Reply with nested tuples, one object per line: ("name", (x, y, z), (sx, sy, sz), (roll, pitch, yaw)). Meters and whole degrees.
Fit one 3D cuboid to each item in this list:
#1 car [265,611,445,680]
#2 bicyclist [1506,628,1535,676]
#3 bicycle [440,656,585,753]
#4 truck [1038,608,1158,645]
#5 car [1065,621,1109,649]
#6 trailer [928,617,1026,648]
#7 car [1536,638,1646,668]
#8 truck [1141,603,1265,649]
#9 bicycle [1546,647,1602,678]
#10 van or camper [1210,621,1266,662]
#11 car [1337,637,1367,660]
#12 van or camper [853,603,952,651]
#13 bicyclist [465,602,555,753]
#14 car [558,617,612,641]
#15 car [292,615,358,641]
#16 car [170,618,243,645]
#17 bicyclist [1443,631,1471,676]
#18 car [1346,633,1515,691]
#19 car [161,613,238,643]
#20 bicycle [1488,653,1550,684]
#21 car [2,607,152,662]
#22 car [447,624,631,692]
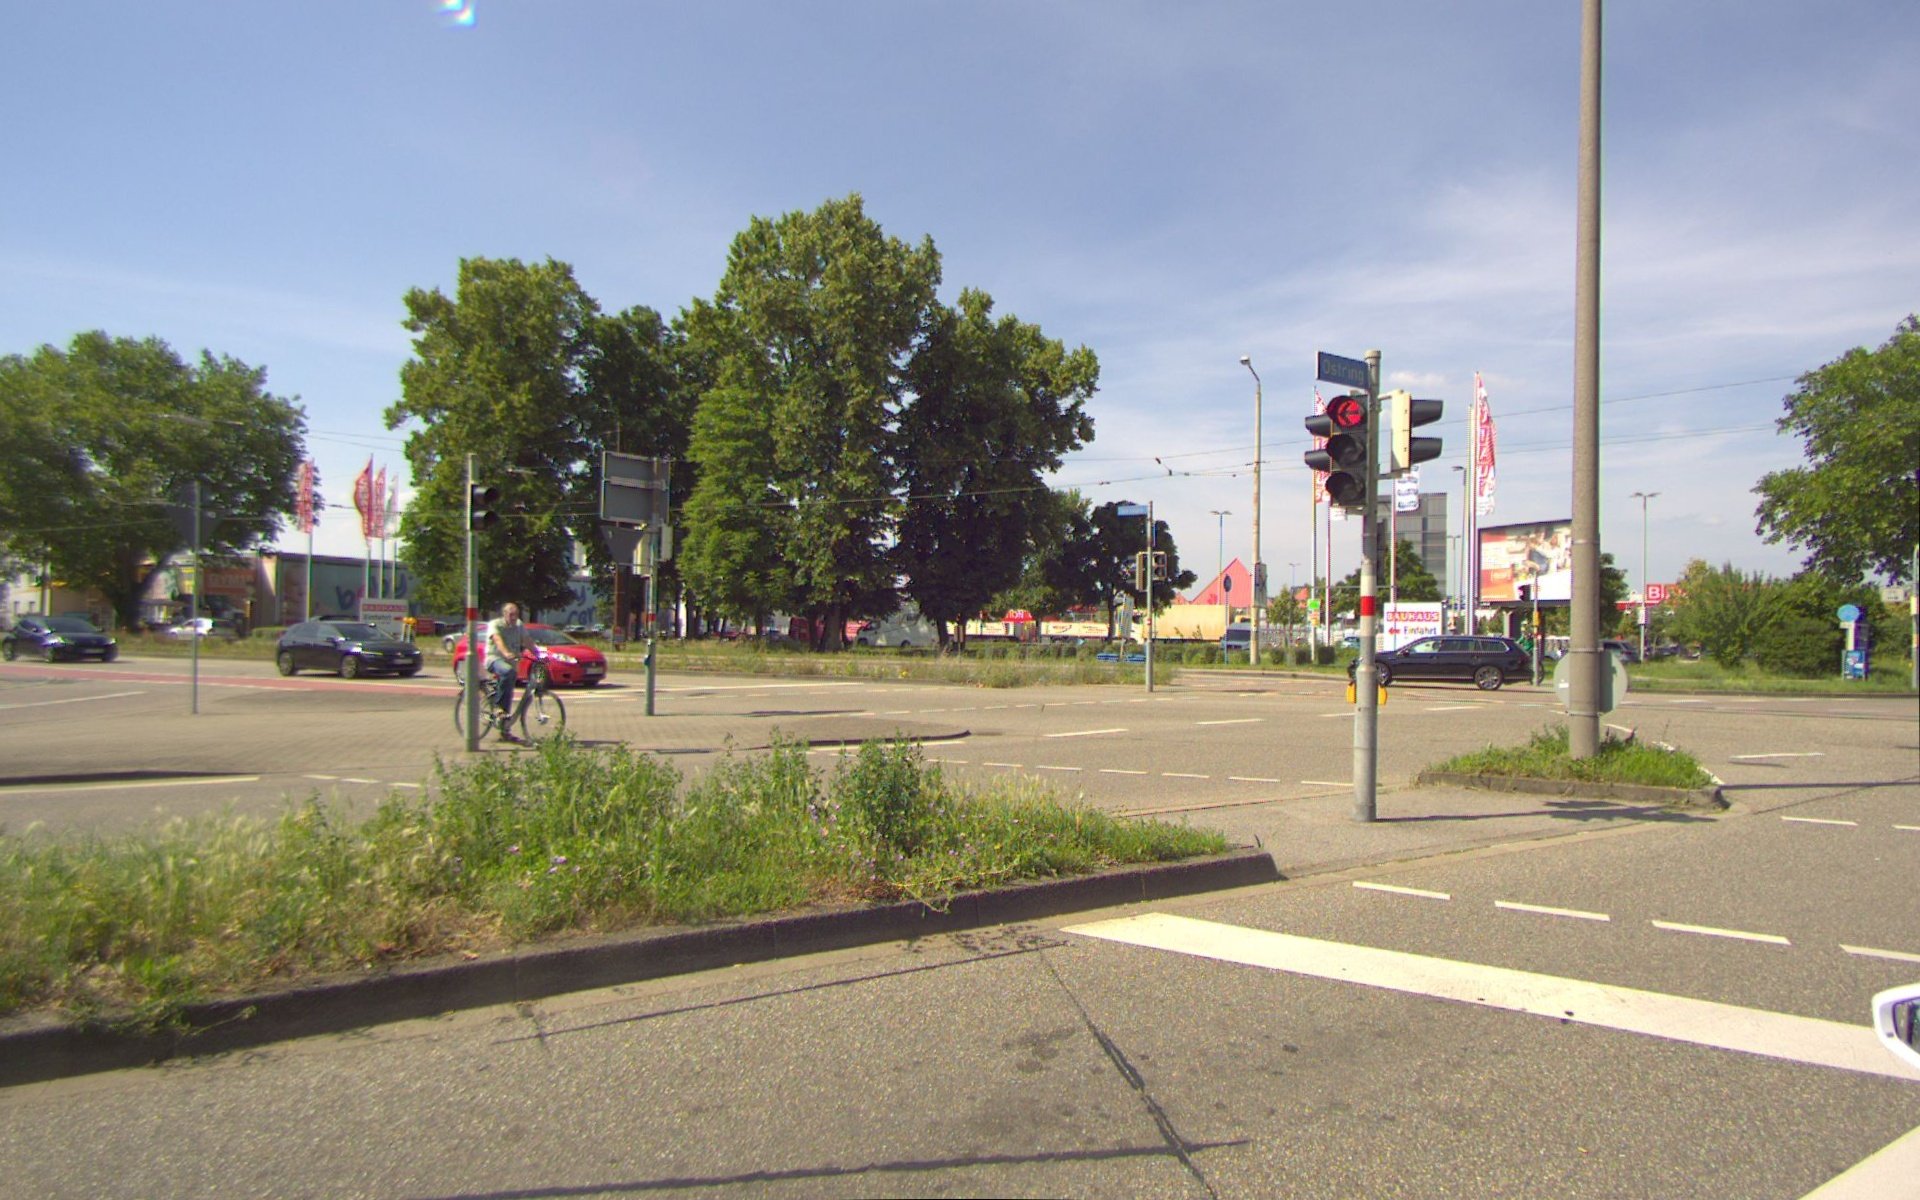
("car", (-16.101, 1.186, 26.773), (3.920, 1.721, 2.001), (0, -2, 18))
("bicyclist", (17.678, 1.635, 31.683), (0.599, 1.511, 0.528), (1, -1, -15))
("bicycle", (-5.620, 1.266, 12.574), (2.128, 1.078, 0.524), (0, -2, 31))
("truck", (11.388, 2.185, 83.060), (9.431, 2.930, 2.925), (0, -2, 24))
("car", (12.506, 3.421, 98.417), (2.344, 2.562, 6.118), (0, -2, 28))
("trailer", (1.499, 2.779, 87.433), (8.057, 2.523, 2.924), (0, -2, 26))
("car", (33.611, 2.815, 53.574), (2.180, 1.432, 4.529), (2, -2, -37))
("truck", (18.441, 1.928, 76.178), (8.753, 3.355, 3.159), (0, -2, 23))
("bicycle", (21.550, 2.200, 35.252), (1.864, 1.051, 0.594), (1, -1, -16))
("van or camper", (16.155, 2.394, 58.146), (2.155, 2.239, 5.513), (0, -2, 26))
("car", (27.881, 3.419, 71.313), (1.787, 1.593, 4.278), (0, -2, 24))
("van or camper", (-3.923, 1.833, 68.762), (6.207, 3.141, 2.709), (1, -1, 26))
("bicyclist", (-5.633, 0.944, 12.590), (0.754, 1.812, 0.704), (0, -1, 31))
("car", (-37.234, 2.846, 99.876), (2.112, 2.308, 5.037), (0, -2, 26))
("car", (-49.960, 2.216, 79.021), (1.971, 2.040, 3.979), (0, -2, 41))
("car", (-42.098, 1.758, 56.103), (3.788, 1.446, 1.698), (0, -2, 26))
("bicyclist", (15.945, 1.713, 32.229), (0.598, 1.432, 0.529), (1, -1, -7))
("car", (13.044, 1.662, 27.897), (4.147, 1.462, 1.786), (0, -2, 30))
("car", (-53.807, 2.011, 71.090), (1.971, 2.040, 3.980), (0, -2, 41))
("bicycle", (17.624, 2.151, 31.663), (1.963, 0.950, 0.416), (1, -1, -14))
("car", (-29.178, 1.128, 33.220), (3.921, 1.721, 2.000), (0, -2, 19))
("car", (-9.971, 1.320, 23.789), (3.924, 1.468, 1.846), (0, -2, 25))
